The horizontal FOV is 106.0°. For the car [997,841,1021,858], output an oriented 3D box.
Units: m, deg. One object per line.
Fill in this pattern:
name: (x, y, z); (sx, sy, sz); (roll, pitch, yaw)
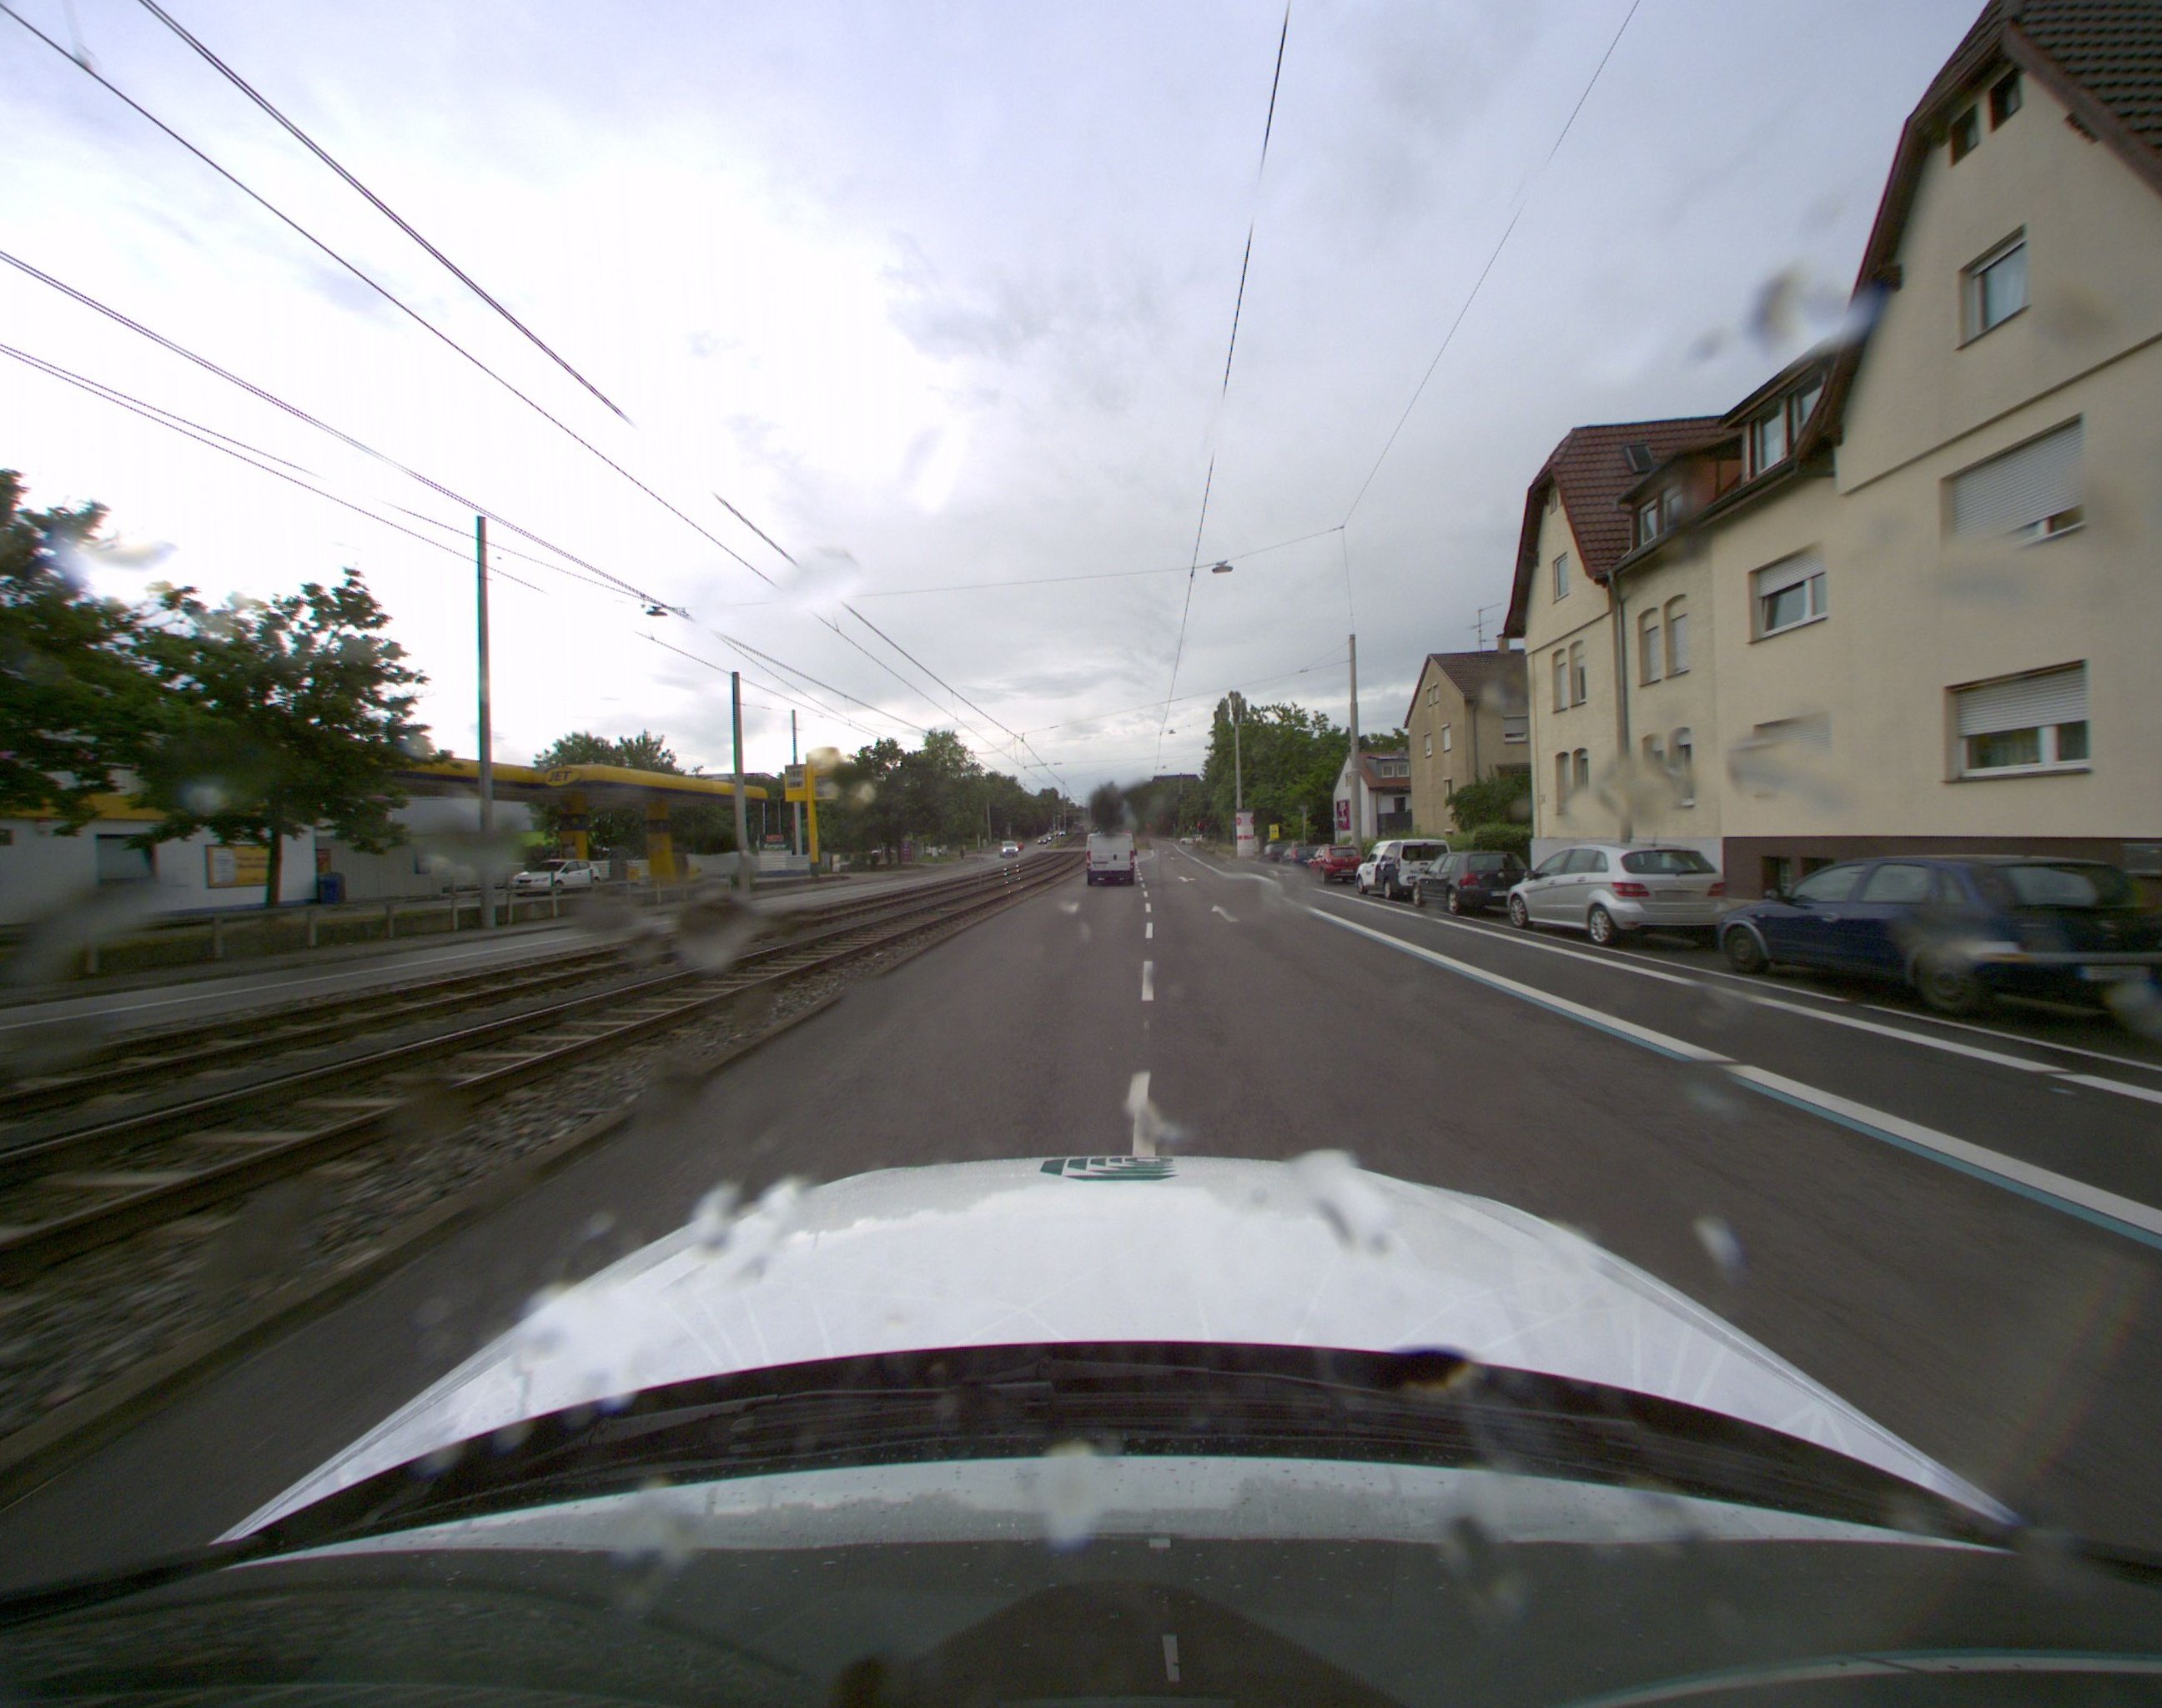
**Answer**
car: (-9.117, -0.585, 102.559); (2.000, 2.014, 4.497); (0, -1, -20)

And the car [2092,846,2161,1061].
car: (7.982, 0.675, 3.807); (1.700, 1.446, 4.046); (0, 0, 5)

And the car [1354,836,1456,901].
car: (9.779, 0.392, 24.903); (1.739, 1.807, 3.958); (-1, 0, 3)

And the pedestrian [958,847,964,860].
pedestrian: (-13.962, -0.044, 94.935); (0.612, 1.475, 0.641); (-2, -1, -9)

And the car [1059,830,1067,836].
car: (-5.535, -6.414, 247.319); (1.985, 1.651, 4.004); (-2, 0, 3)

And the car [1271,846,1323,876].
car: (11.233, 0.354, 42.534); (1.840, 1.500, 3.957); (-1, 0, 3)

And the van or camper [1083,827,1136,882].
van or camper: (1.214, 0.053, 35.856); (2.191, 2.253, 4.684); (0, -1, 1)

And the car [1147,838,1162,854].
car: (9.671, -0.985, 107.430); (1.984, 2.014, 4.004); (0, -1, 4)

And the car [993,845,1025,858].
car: (-11.224, -0.402, 126.521); (4.478, 2.014, 2.009); (0, -1, 16)

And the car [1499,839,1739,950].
car: (8.885, 0.589, 13.914); (1.639, 1.615, 4.109); (0, 0, 4)

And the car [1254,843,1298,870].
car: (11.532, 0.155, 48.292); (1.840, 1.500, 3.957); (-1, 0, 3)

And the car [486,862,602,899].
car: (-21.965, 1.041, 33.522); (1.986, 1.442, 4.002); (0, -1, 2)

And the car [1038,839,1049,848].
car: (-7.215, -1.991, 155.985); (1.683, 1.712, 3.779); (0, -1, 3)

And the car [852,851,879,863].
car: (-34.496, 0.493, 130.410); (3.984, 2.014, 1.994); (0, -1, -8)

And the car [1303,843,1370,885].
car: (10.843, 0.388, 34.824); (1.840, 1.645, 3.958); (-1, 0, 3)

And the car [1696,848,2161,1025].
car: (8.541, 0.673, 8.555); (1.618, 1.448, 3.713); (0, 0, 6)

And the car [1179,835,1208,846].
car: (17.453, -2.115, 126.416); (4.130, 1.476, 1.677); (-2, 0, 36)

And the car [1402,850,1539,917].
car: (9.180, 0.631, 19.533); (1.639, 1.446, 3.959); (0, 0, 4)

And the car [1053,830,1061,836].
car: (-6.687, -5.865, 229.226); (1.985, 1.651, 4.004); (-2, 0, 3)

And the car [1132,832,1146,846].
car: (8.893, -2.292, 125.841); (1.986, 2.014, 4.001); (0, -1, 1)
